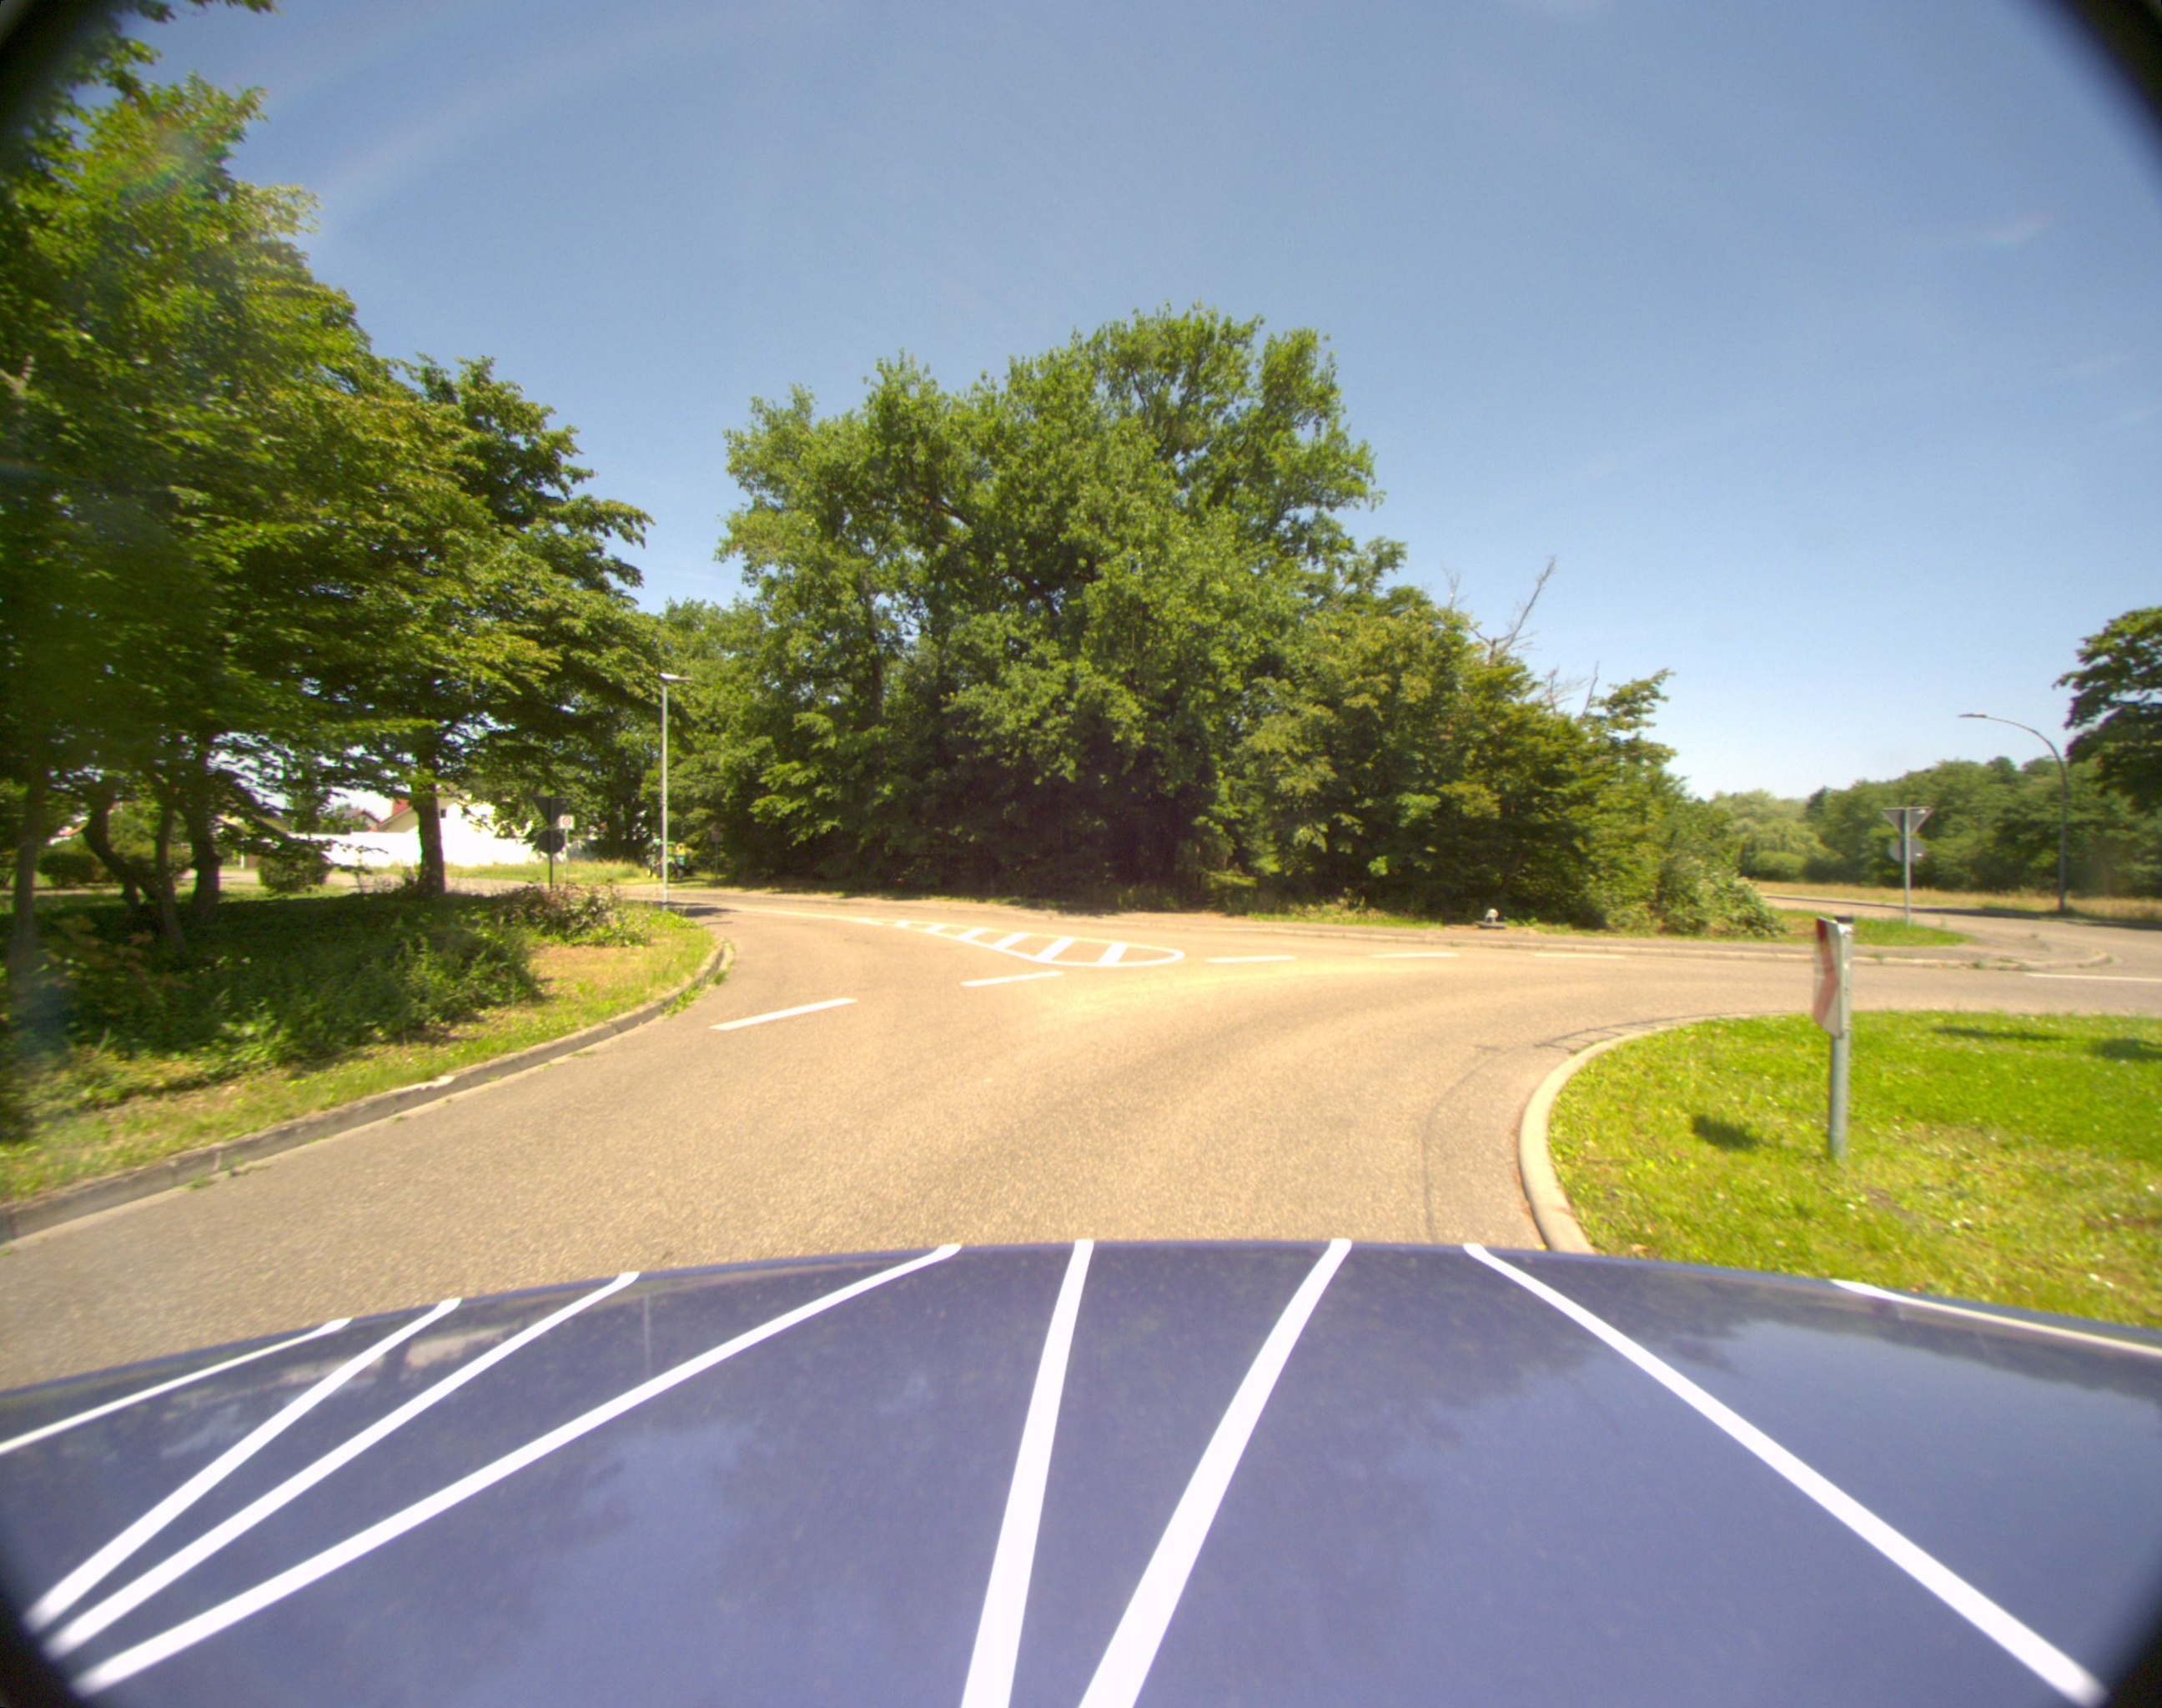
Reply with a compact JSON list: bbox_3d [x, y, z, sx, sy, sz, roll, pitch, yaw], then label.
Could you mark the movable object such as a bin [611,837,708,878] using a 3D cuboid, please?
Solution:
[{"bbox_3d":[-24.742,0.176,44.583,5.225,2.263,2.528,1,0,28],"label":"movable object such as a bin"}]
